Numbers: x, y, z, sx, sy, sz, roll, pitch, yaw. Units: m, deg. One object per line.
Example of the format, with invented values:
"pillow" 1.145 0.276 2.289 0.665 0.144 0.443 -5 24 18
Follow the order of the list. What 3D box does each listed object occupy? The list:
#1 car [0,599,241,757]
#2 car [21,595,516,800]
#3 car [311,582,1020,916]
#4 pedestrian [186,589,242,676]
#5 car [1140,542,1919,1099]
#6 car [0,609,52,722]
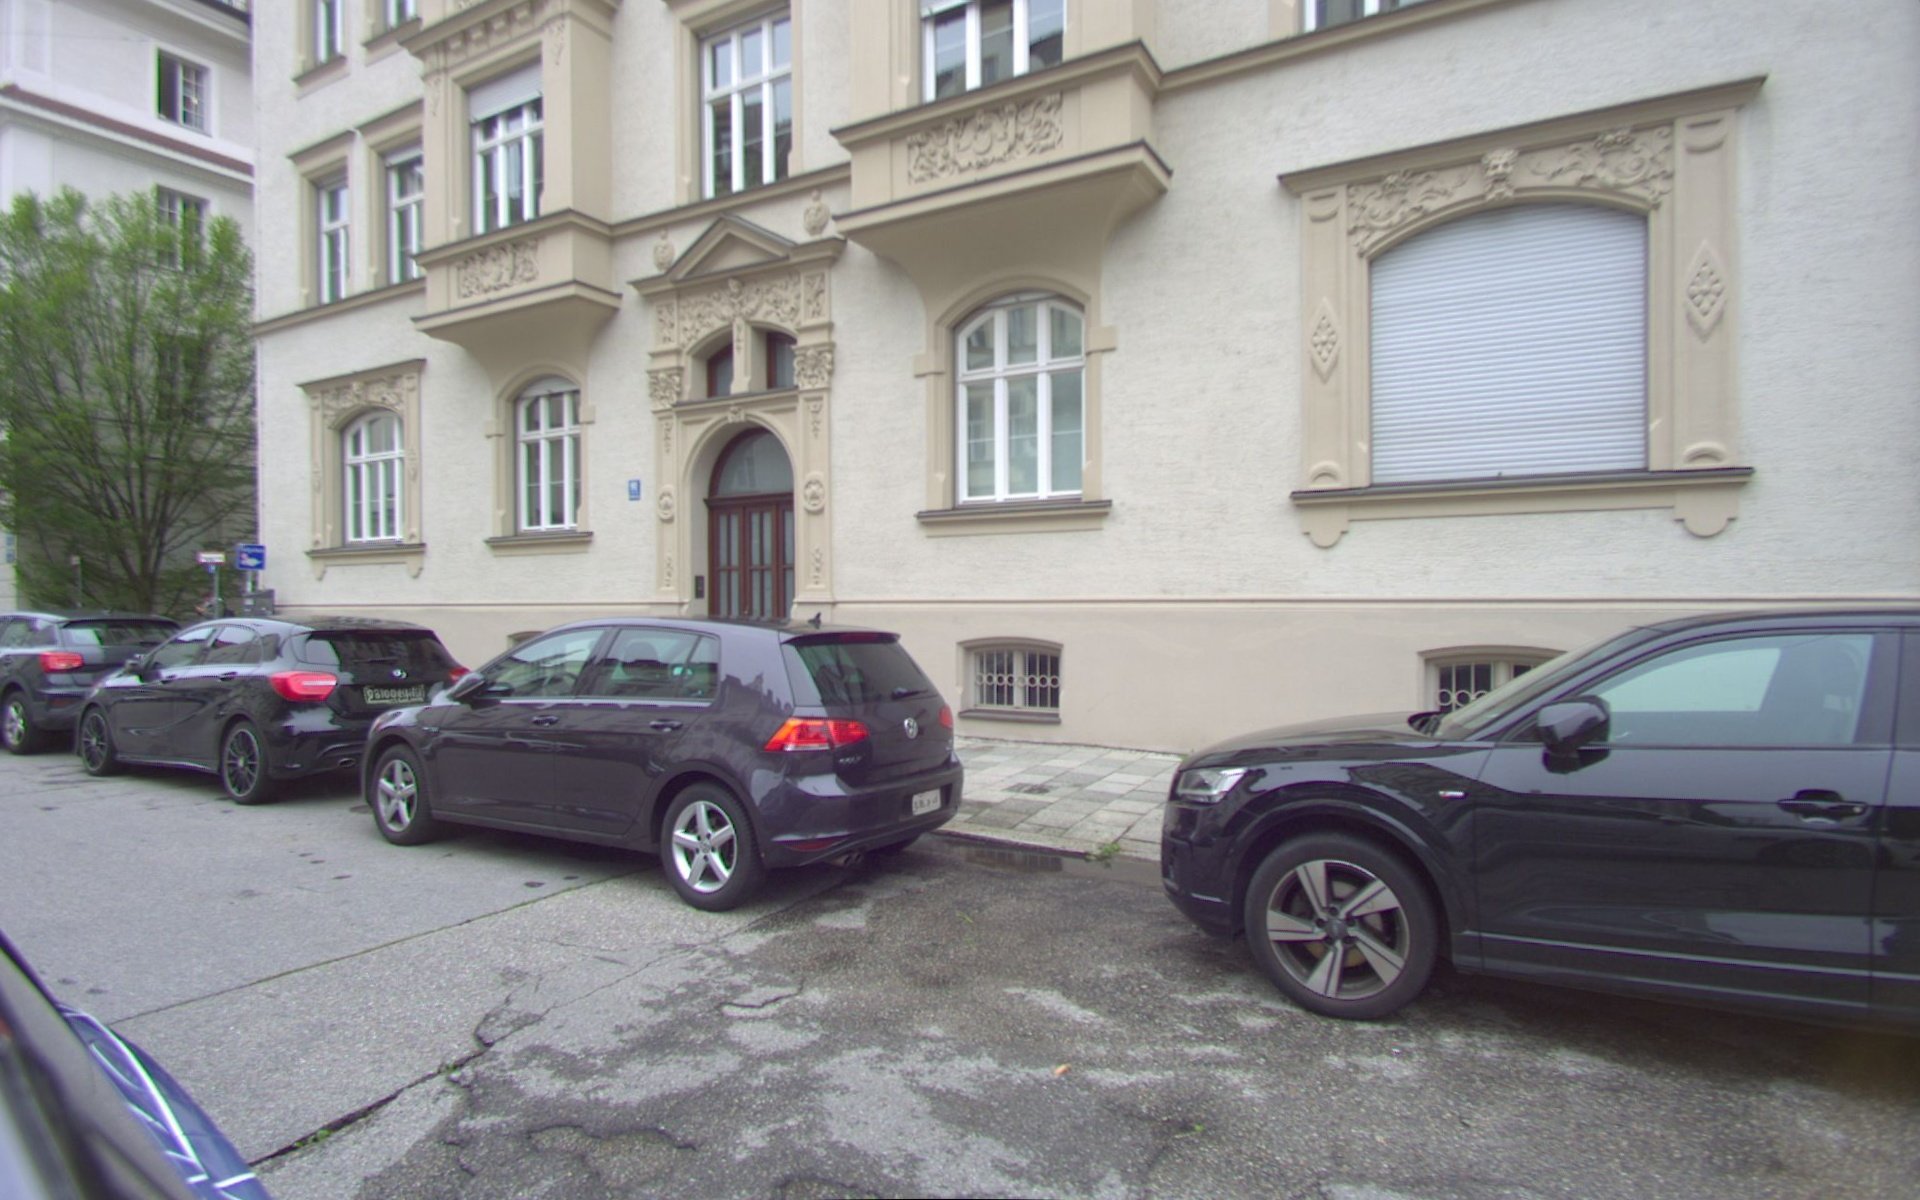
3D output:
"car" -10.473 0.839 11.666 4.364 1.530 1.759 -1 -4 28
"car" -6.266 0.755 9.073 4.533 1.445 1.821 -1 -2 29
"car" -1.916 0.725 6.286 4.228 1.447 1.823 -1 -4 31
"pedestrian" -14.379 0.624 19.510 0.628 1.638 0.669 -1 -1 27
"car" 2.847 0.633 3.641 4.003 1.511 1.740 -1 -3 31
"car" -14.405 0.866 13.707 4.225 1.445 1.824 -1 -2 29
